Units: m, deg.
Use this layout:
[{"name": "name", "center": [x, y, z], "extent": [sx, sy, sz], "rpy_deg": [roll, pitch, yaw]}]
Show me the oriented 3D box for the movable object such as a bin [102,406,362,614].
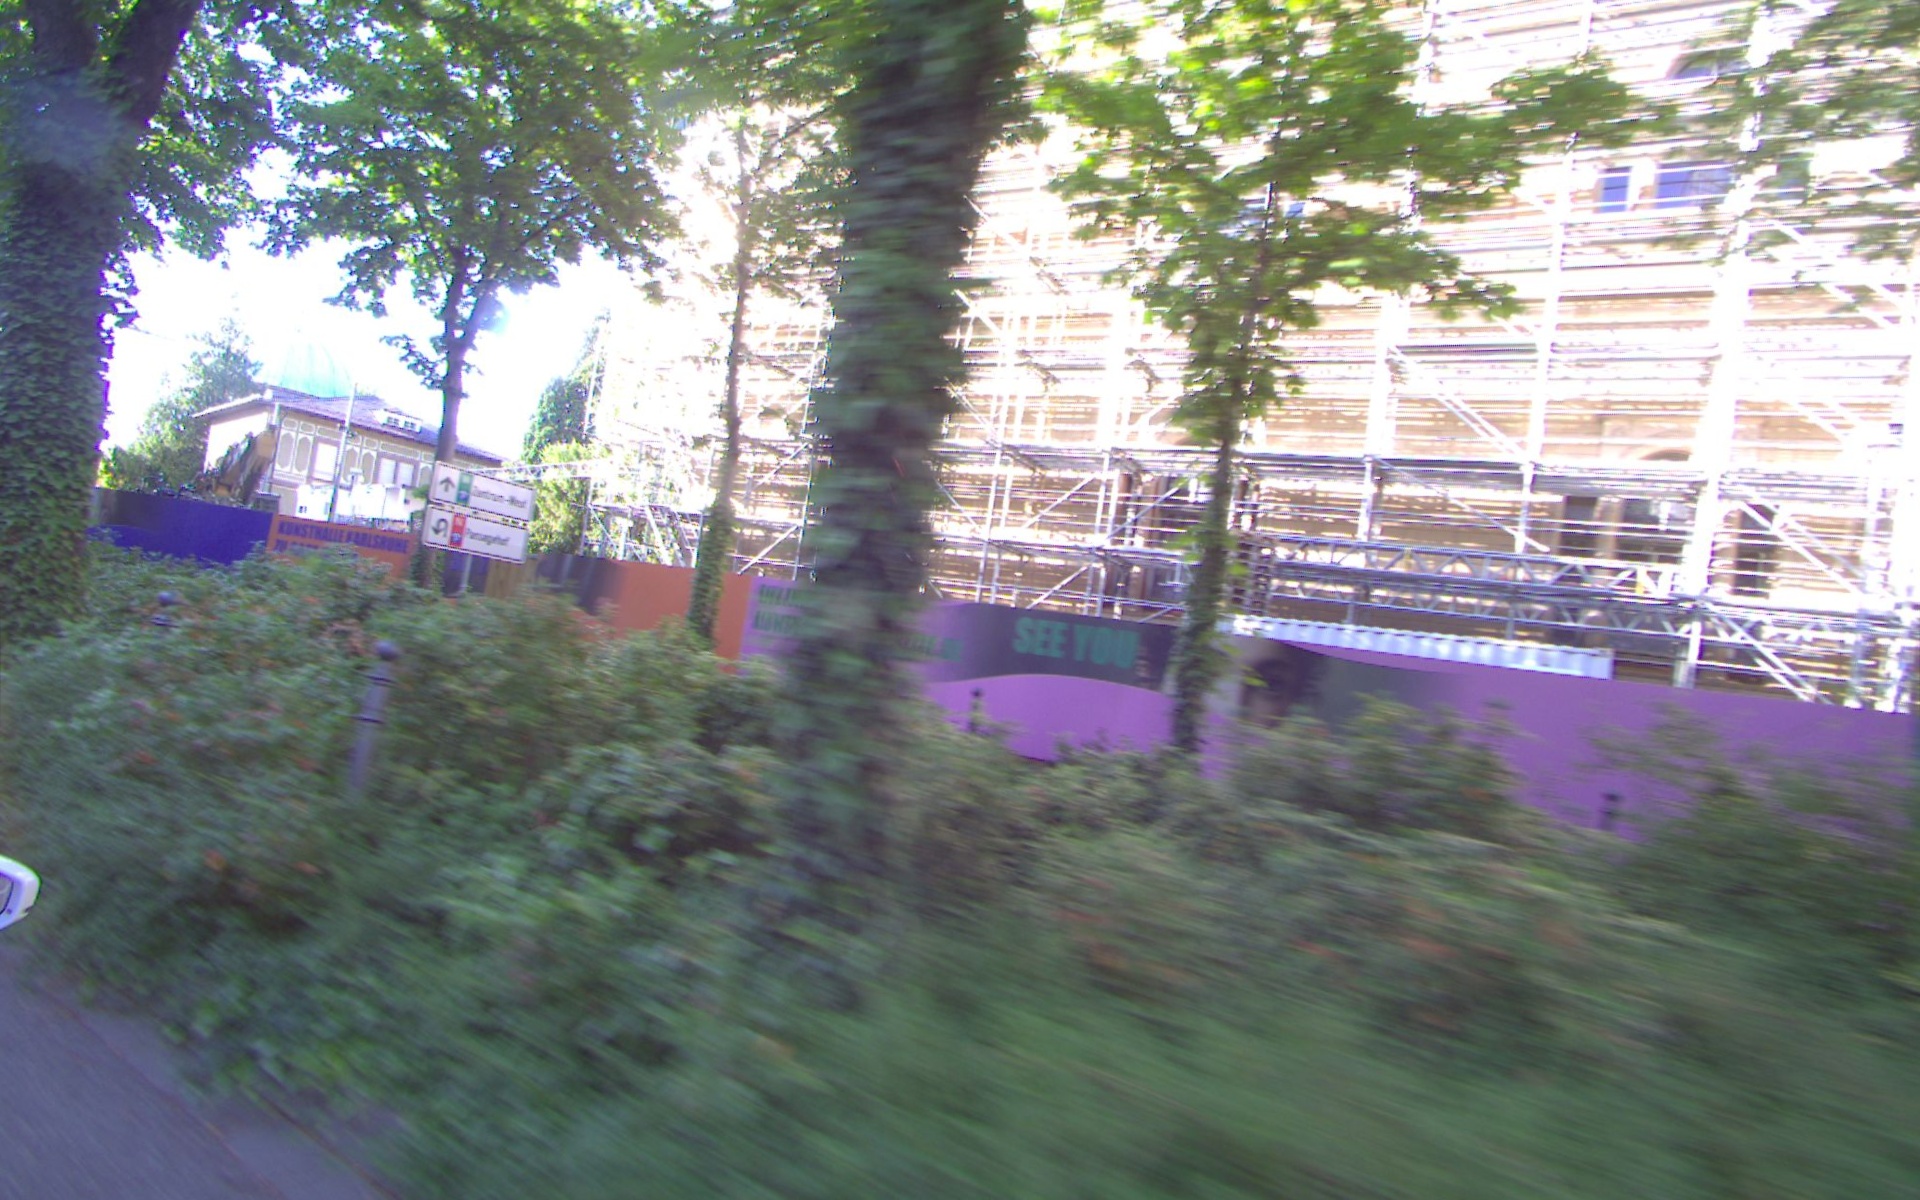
[{"name": "movable object such as a bin", "center": [-20.074, -2.454, 27.551], "extent": [7.787, 4.590, 3.309], "rpy_deg": [6, -2, 38]}]
